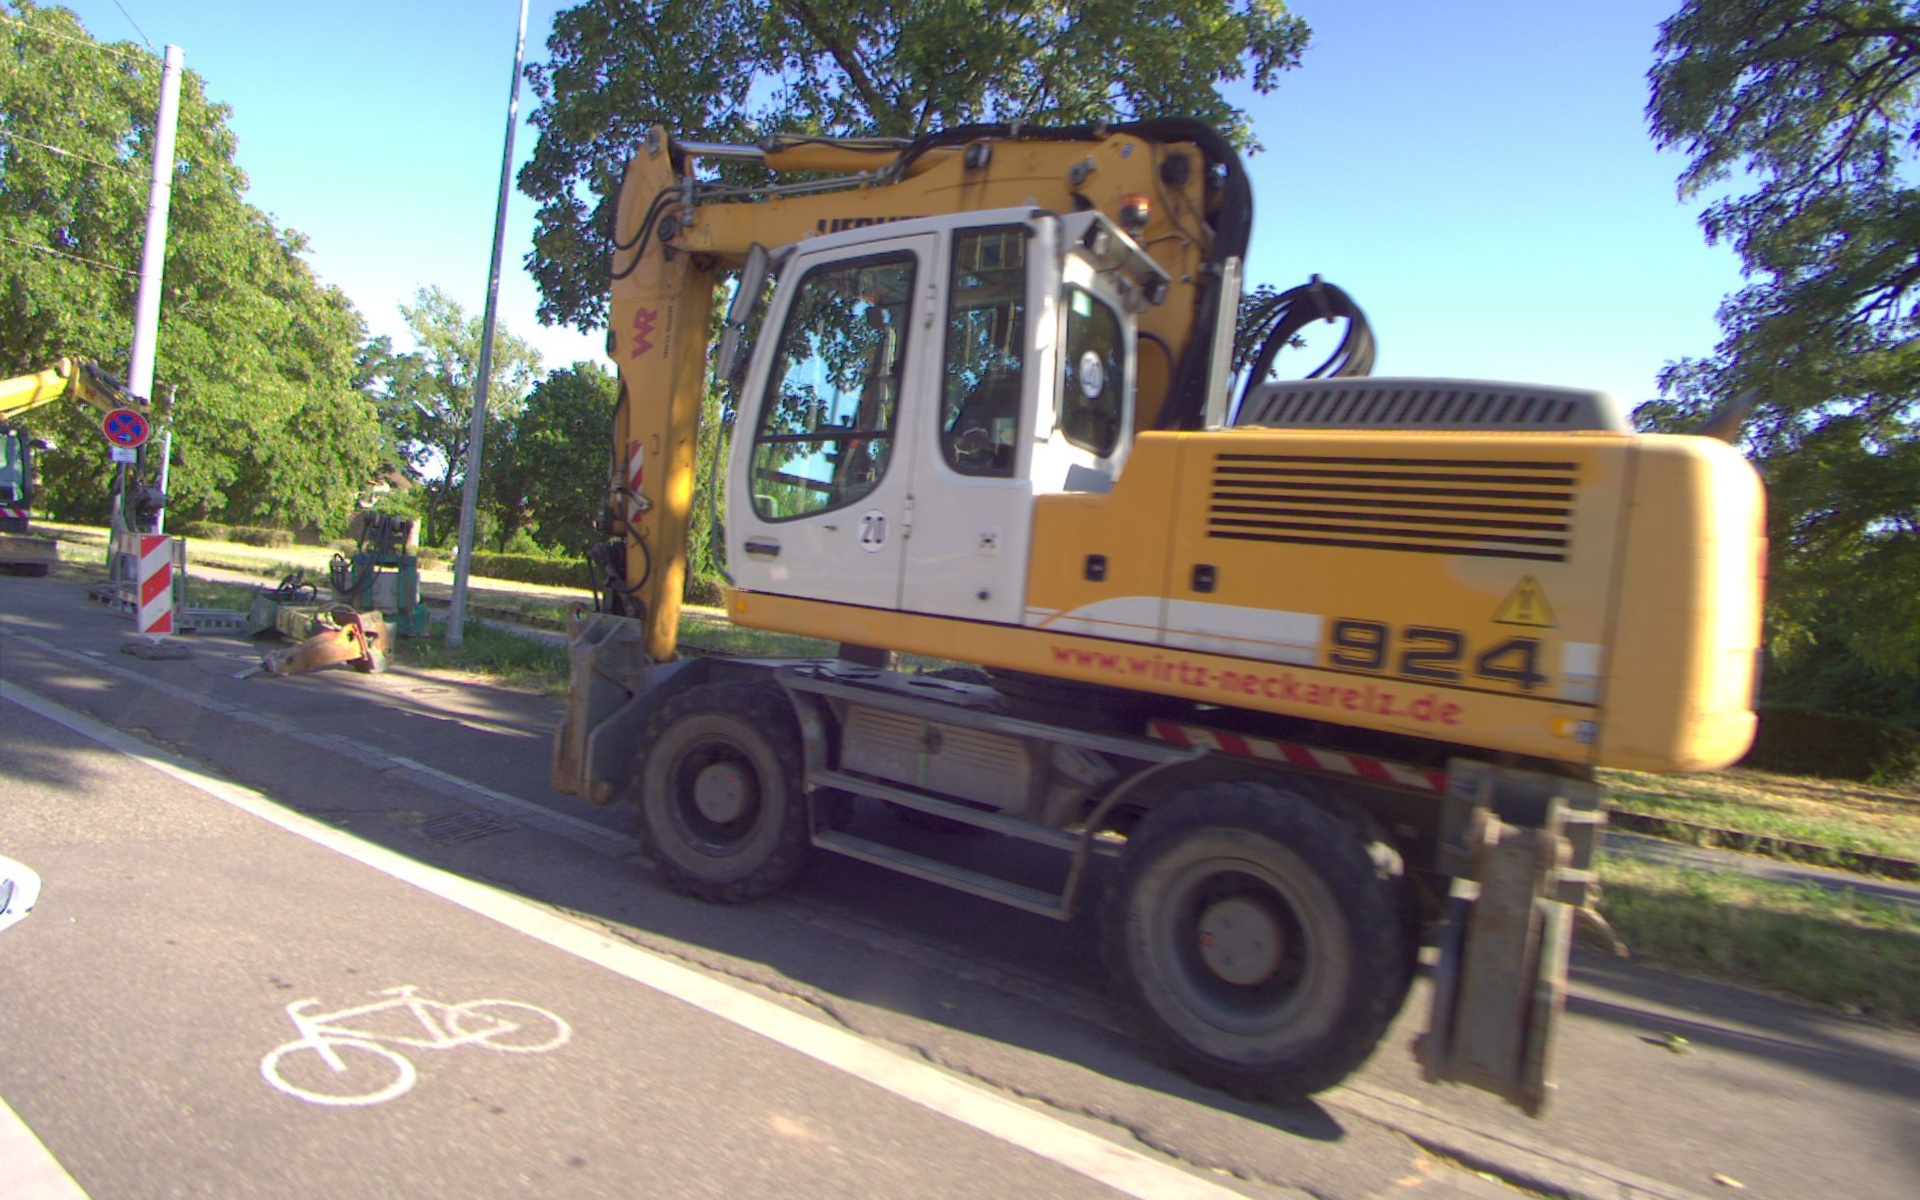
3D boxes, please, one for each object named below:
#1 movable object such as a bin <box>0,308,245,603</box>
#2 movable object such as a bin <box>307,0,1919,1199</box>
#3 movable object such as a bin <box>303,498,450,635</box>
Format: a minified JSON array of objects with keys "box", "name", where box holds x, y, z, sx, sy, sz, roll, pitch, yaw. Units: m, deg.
[{"box":[-15.938,-2.367,17.086,7.471,4.030,3.339,7,3,31],"name":"movable object such as a bin"},{"box":[-0.052,-0.798,5.651,7.471,4.673,2.914,7,3,31],"name":"movable object such as a bin"},{"box":[-7.875,-0.469,13.589,1.282,1.693,1.314,7,6,36],"name":"movable object such as a bin"}]
